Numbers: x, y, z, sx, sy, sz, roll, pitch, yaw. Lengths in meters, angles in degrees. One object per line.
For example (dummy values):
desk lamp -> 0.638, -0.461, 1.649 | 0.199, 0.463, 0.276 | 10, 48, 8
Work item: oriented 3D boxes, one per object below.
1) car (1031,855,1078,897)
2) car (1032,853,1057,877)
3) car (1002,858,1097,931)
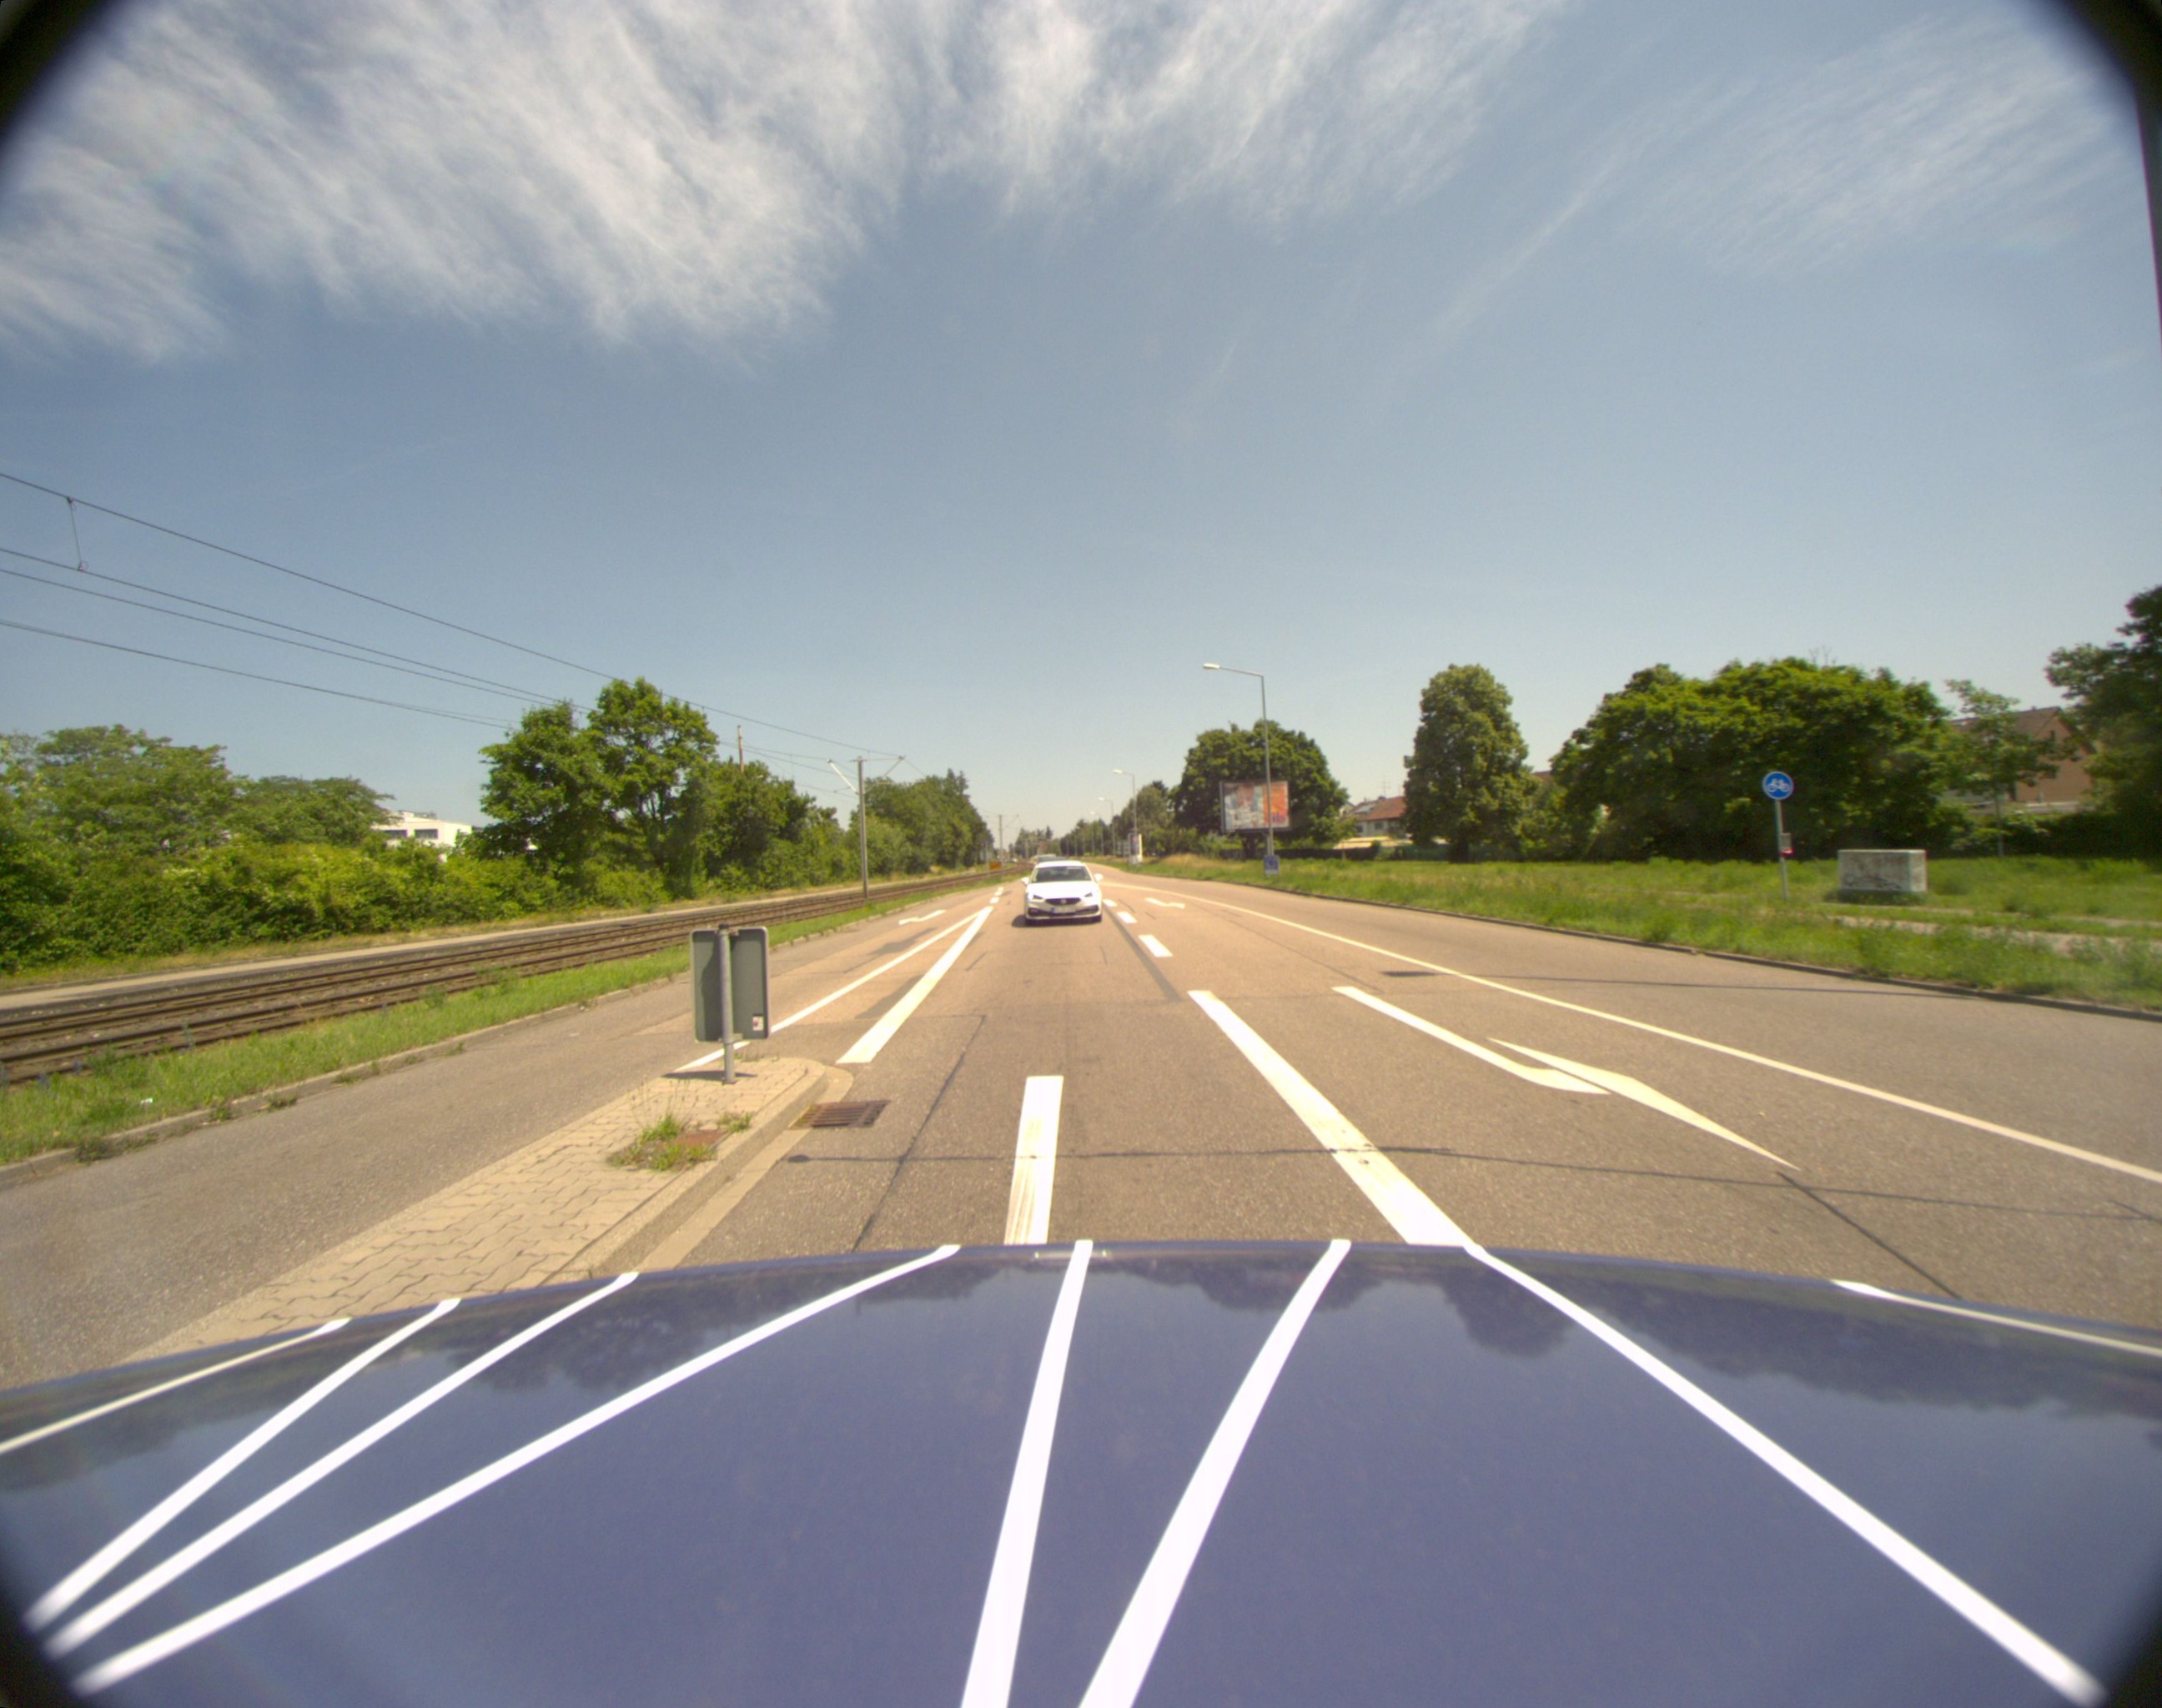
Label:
car -> -1.068, 0.883, 32.457 | 1.780, 1.628, 4.000 | -2, 0, 1
car -> -3.038, 0.888, 63.360 | 1.780, 1.865, 4.000 | -2, 0, 1
car -> -0.636, 0.907, 18.854 | 1.954, 1.467, 4.362 | -3, 0, 2
